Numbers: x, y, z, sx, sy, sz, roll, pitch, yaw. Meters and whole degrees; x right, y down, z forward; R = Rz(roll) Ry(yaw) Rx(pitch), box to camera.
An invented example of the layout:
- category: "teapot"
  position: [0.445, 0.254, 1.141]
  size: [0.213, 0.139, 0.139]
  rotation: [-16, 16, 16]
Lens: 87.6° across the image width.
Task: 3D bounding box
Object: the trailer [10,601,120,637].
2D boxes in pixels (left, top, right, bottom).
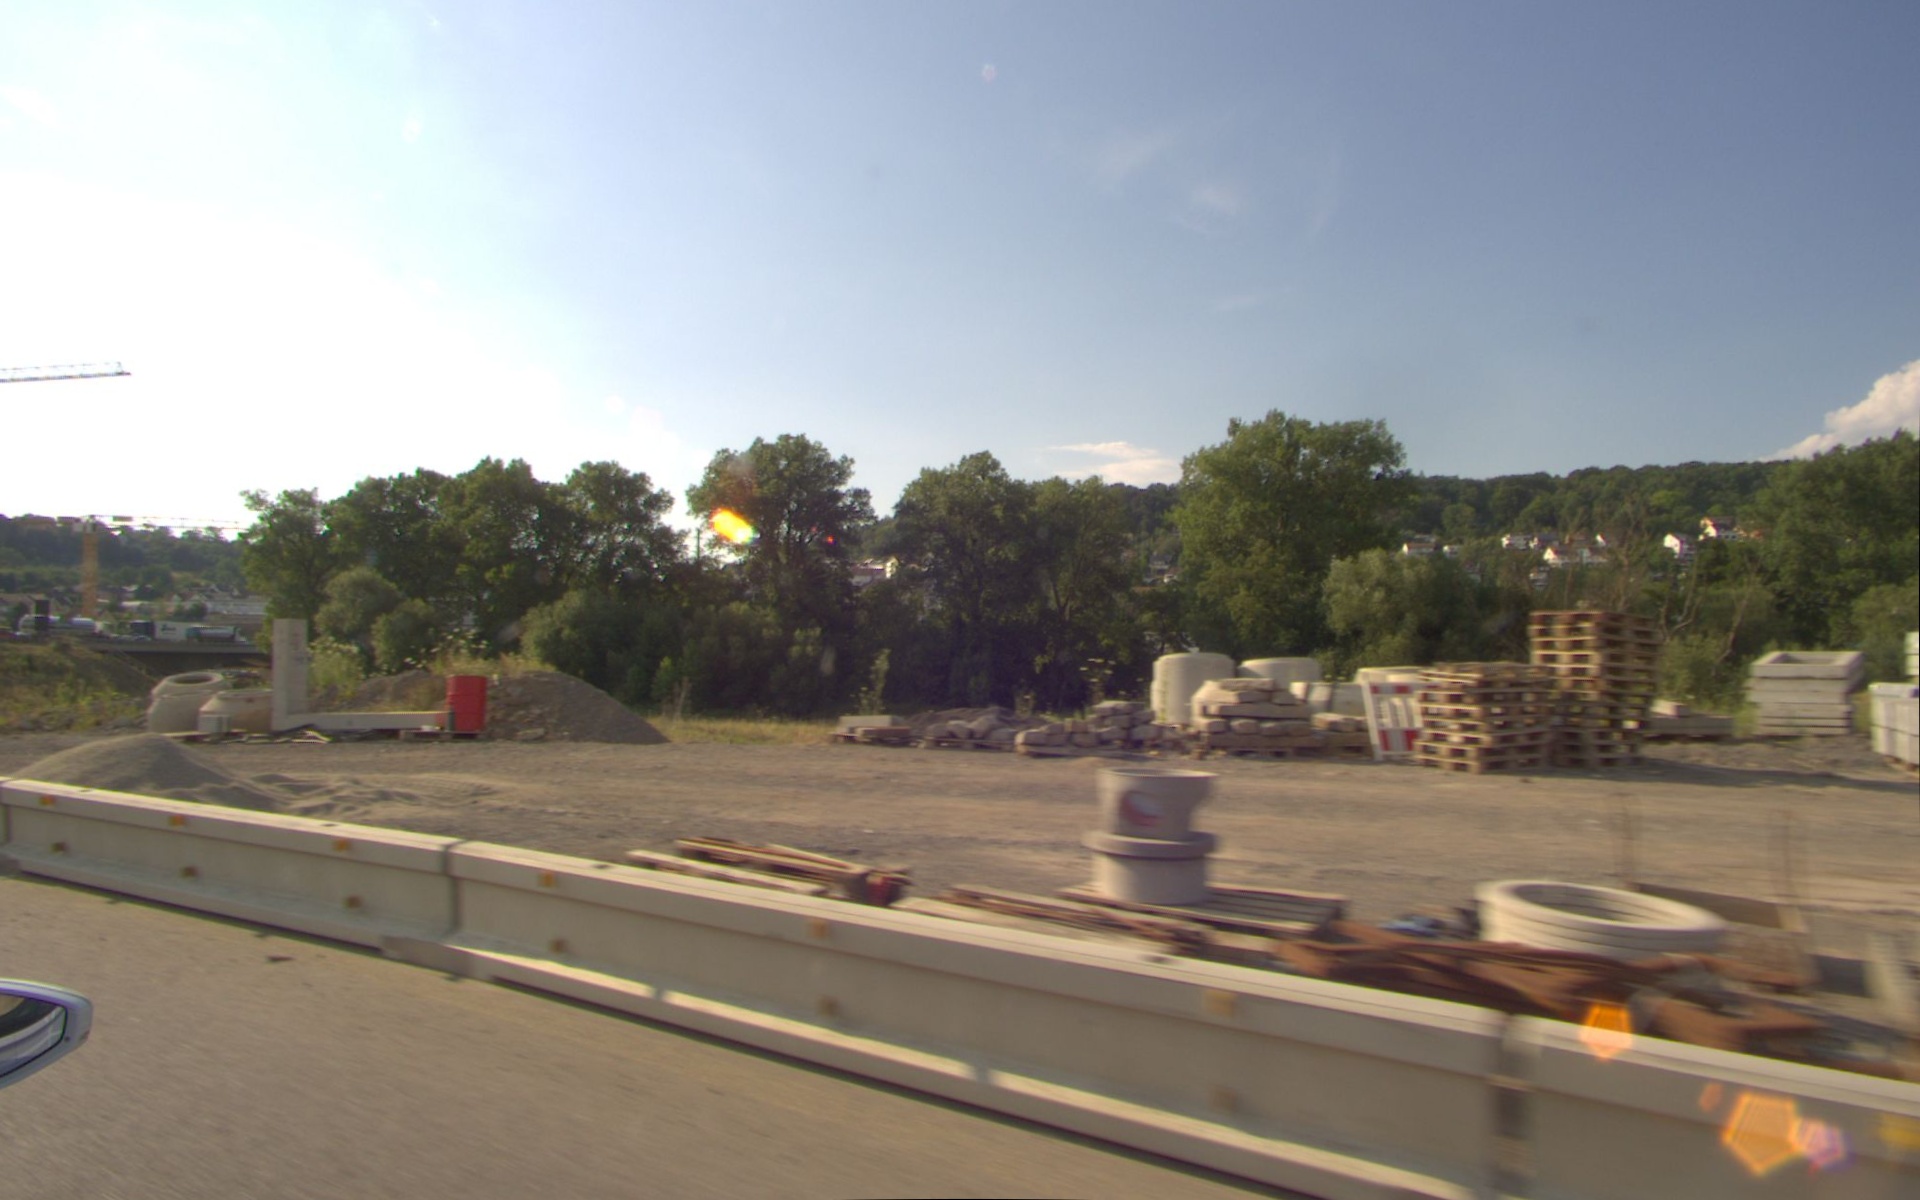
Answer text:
- category: "trailer"
  position: [-110.253, 2.477, 123.809]
  size: [3.334, 4.046, 14.737]
  rotation: [2, -3, -13]

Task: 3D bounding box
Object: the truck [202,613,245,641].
- category: "truck"
  position: [-119.135, 4.457, 162.063]
  size: [3.051, 4.338, 6.621]
  rotation: [2, -3, -13]

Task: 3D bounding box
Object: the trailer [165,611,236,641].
- category: "trailer"
  position: [-117.608, 4.143, 155.380]
  size: [3.057, 4.367, 14.244]
  rotation: [2, -3, -13]

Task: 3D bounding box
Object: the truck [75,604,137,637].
- category: "truck"
  position: [-112.013, 2.771, 131.499]
  size: [3.339, 4.046, 6.621]
  rotation: [2, -3, -13]
